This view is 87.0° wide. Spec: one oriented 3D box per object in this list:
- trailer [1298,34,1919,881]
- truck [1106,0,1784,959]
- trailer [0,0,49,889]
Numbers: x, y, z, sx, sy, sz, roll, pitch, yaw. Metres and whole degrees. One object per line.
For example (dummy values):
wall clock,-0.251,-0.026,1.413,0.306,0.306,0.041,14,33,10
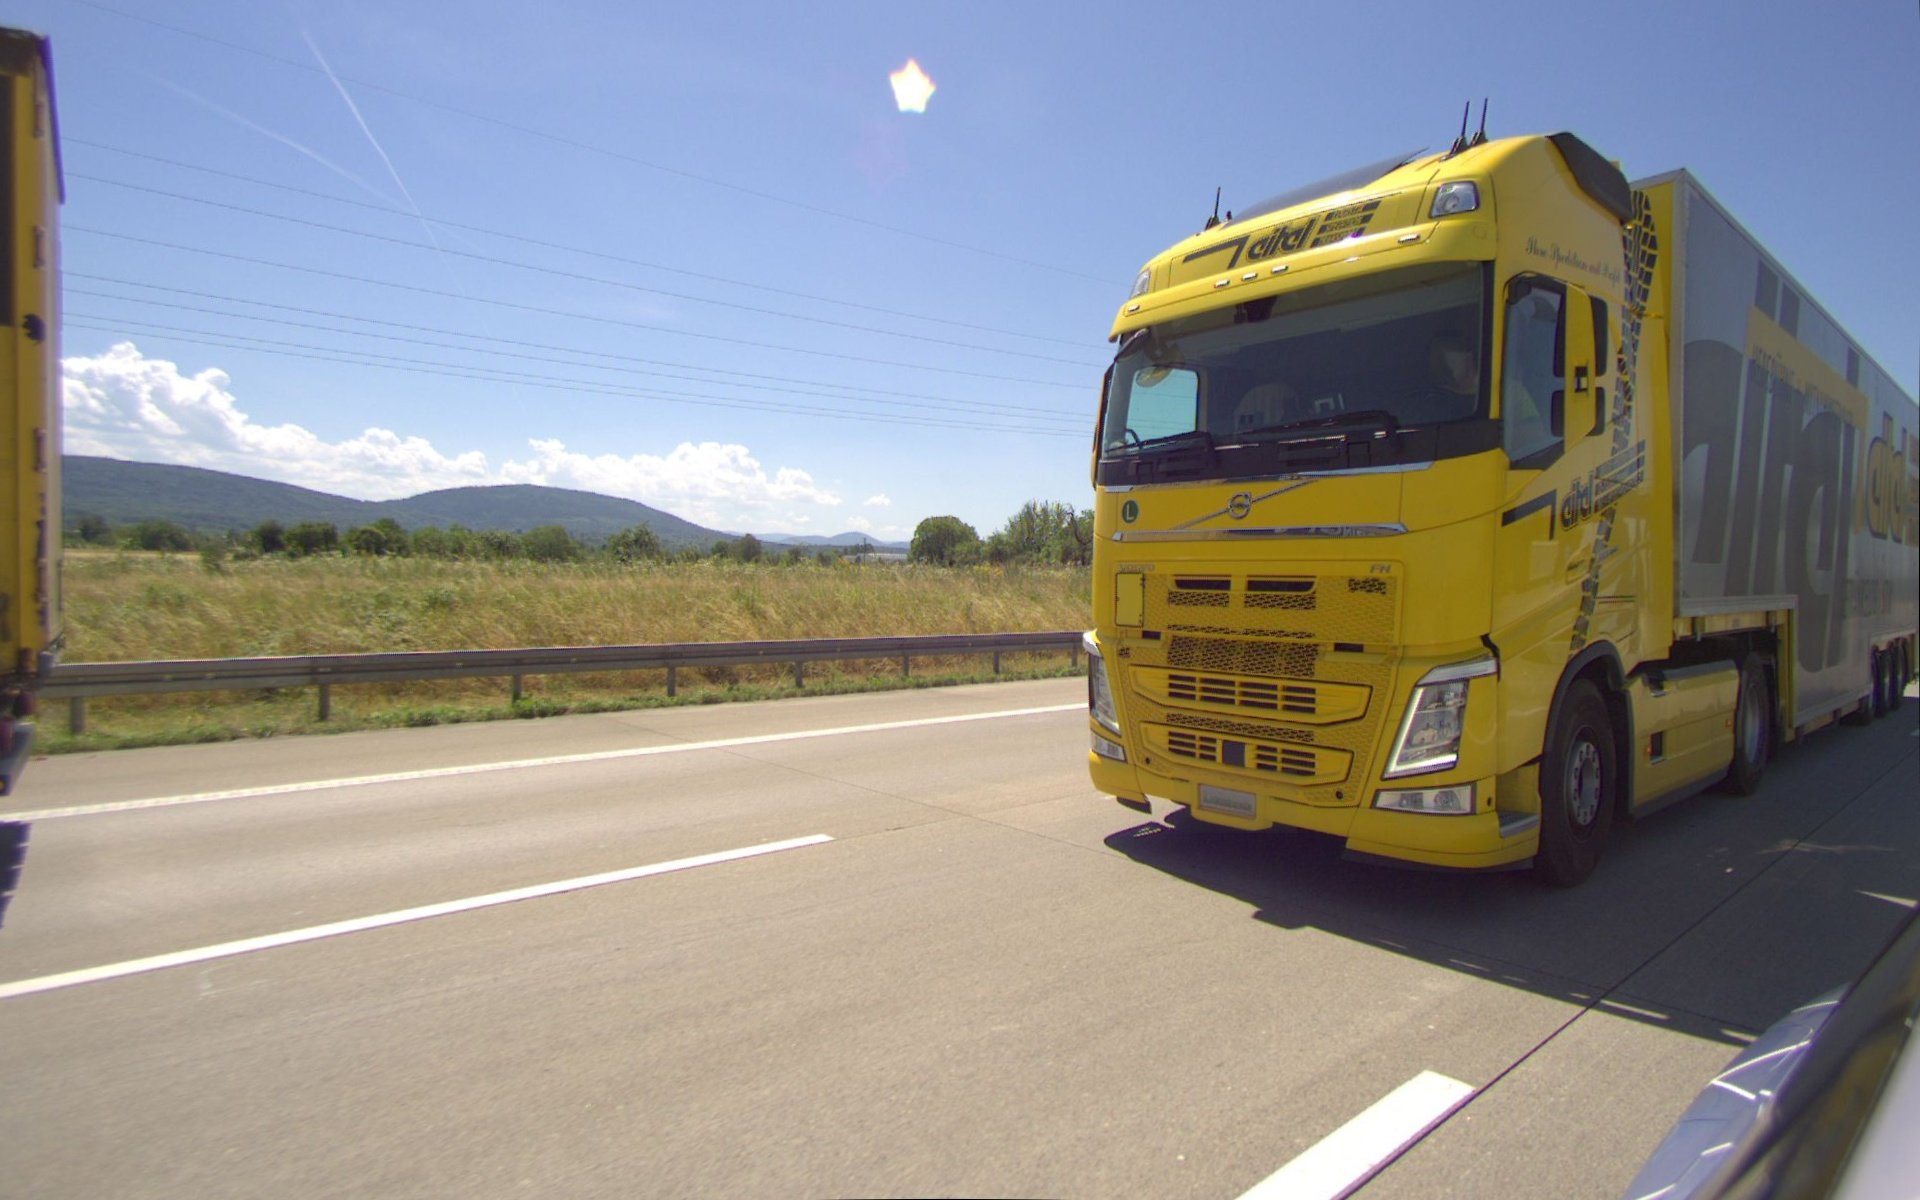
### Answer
trailer,8.469,-0.796,10.860,14.937,4.308,1.996,-1,0,-42
truck,3.349,-0.804,6.339,5.105,4.308,1.996,0,0,-41
trailer,-10.420,-0.742,0.699,14.488,4.246,1.997,-1,0,-41
